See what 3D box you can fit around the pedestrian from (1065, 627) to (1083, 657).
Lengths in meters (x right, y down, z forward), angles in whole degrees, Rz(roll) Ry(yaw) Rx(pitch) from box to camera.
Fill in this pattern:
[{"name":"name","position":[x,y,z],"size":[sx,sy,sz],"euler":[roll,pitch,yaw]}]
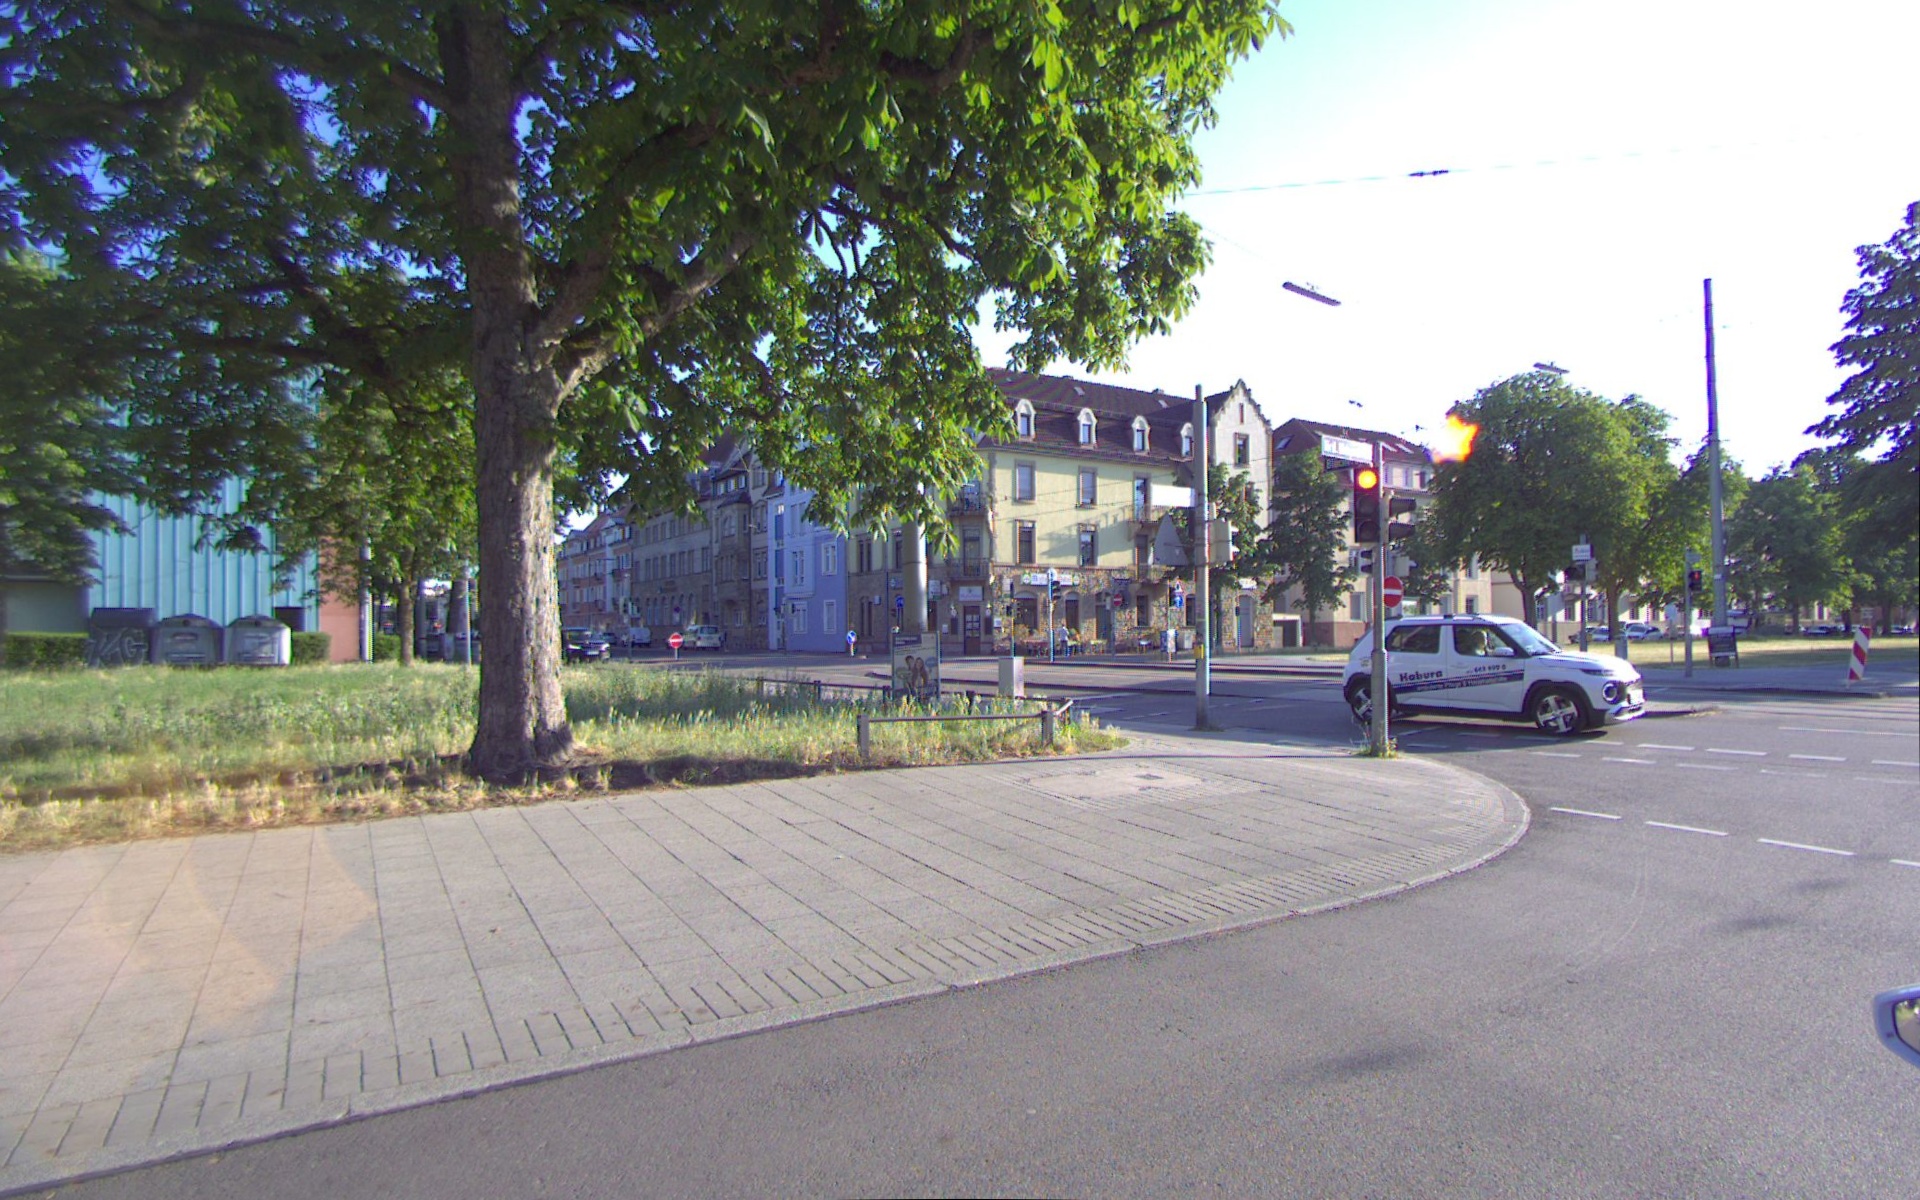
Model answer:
[{"name":"pedestrian","position":[6.482,2.373,57.095],"size":[0.715,1.664,0.811],"euler":[0,-1,-23]}]

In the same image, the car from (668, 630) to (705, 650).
[{"name":"car","position":[-22.653,3.303,83.190],"size":[2.074,1.612,4.014],"euler":[2,-2,-29]}]

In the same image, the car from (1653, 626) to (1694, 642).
[{"name":"car","position":[65.846,3.138,92.698],"size":[3.749,1.446,1.729],"euler":[1,-2,-31]}]

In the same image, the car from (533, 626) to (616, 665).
[{"name":"car","position":[-17.625,2.040,45.807],"size":[1.867,1.685,4.502],"euler":[1,-2,-45]}]

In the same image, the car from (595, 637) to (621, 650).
[{"name":"car","position":[-36.441,4.458,103.865],"size":[1.867,1.299,4.013],"euler":[1,-2,-29]}]

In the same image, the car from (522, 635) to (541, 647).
[{"name":"car","position":[-57.575,5.498,134.897],"size":[1.867,1.433,4.013],"euler":[1,-2,-29]}]

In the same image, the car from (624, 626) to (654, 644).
[{"name":"car","position":[-30.105,3.283,94.102],"size":[1.888,1.610,4.013],"euler":[2,-2,-29]}]

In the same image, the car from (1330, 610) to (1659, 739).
[{"name":"car","position":[7.559,1.021,14.488],"size":[1.599,1.572,3.832],"euler":[-2,-2,-41]}]

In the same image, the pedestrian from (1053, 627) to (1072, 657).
[{"name":"pedestrian","position":[5.765,2.371,56.331],"size":[0.715,1.664,0.811],"euler":[-1,-2,41]}]

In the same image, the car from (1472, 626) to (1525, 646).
[{"name":"car","position":[40.874,2.719,76.239],"size":[3.741,1.446,1.732],"euler":[0,-1,-26]}]

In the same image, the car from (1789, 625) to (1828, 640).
[{"name":"car","position":[80.138,3.063,94.897],"size":[3.749,1.446,1.729],"euler":[1,-1,-31]}]

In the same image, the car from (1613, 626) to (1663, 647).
[{"name":"car","position":[51.355,2.714,76.122],"size":[3.748,1.446,1.729],"euler":[-1,0,-31]}]

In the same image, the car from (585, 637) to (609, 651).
[{"name":"car","position":[-39.371,4.762,108.897],"size":[1.867,1.433,4.013],"euler":[1,-2,-29]}]

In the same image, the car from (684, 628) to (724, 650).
[{"name":"car","position":[-20.030,3.016,78.436],"size":[2.074,1.612,4.014],"euler":[2,-2,-29]}]

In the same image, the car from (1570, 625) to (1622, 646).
[{"name":"car","position":[46.155,2.534,72.870],"size":[3.749,1.446,1.729],"euler":[0,-1,-31]}]

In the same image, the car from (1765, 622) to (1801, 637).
[{"name":"car","position":[86.058,3.076,105.024],"size":[3.749,1.446,1.729],"euler":[1,-1,-31]}]
